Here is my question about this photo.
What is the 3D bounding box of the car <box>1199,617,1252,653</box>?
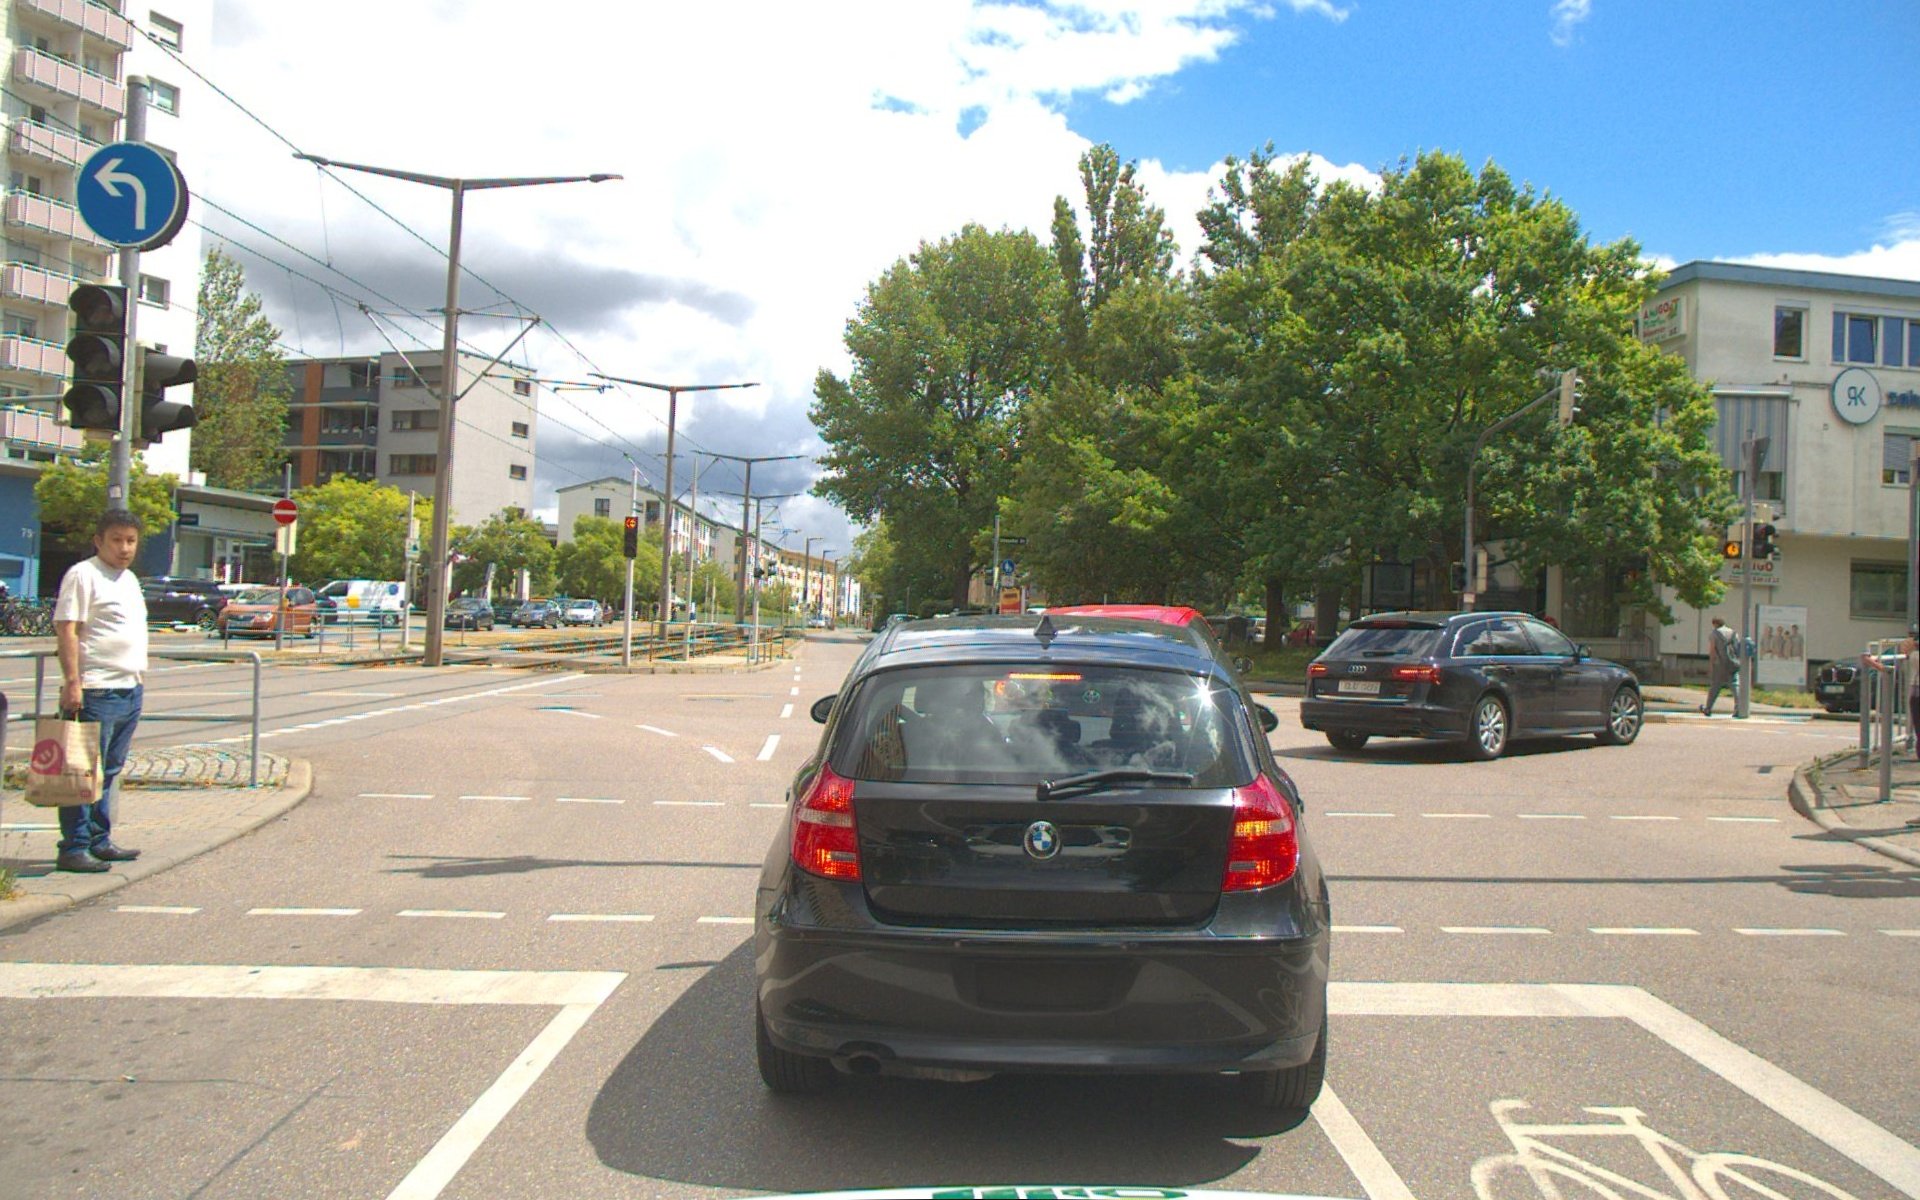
[{"bbox_3d":[12.503,1.627,78.011,1.598,1.600,4.029,1,0,-4],"label":"car"}]

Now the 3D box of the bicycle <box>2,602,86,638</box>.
[{"bbox_3d":[-24.837,0.535,44.864,1.909,0.951,0.494,1,-1,-7],"label":"bicycle"}]

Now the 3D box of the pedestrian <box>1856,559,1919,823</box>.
[{"bbox_3d":[6.602,0.590,11.010,0.932,1.703,0.871,0,0,14],"label":"pedestrian"}]

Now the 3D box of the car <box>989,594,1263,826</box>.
[{"bbox_3d":[1.363,0.717,12.472,1.509,1.466,3.198,1,0,15],"label":"car"}]

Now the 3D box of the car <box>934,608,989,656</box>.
[{"bbox_3d":[0.047,1.187,61.820,1.953,1.713,3.999,1,-1,-1],"label":"car"}]

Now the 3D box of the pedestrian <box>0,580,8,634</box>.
[{"bbox_3d":[-30.594,0.217,51.865,1.078,1.688,0.943,0,-1,39],"label":"pedestrian"}]

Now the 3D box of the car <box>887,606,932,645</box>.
[{"bbox_3d":[-2.322,1.183,77.043,1.953,1.713,3.999,1,0,-1],"label":"car"}]

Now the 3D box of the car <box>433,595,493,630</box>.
[{"bbox_3d":[-21.804,0.534,72.725,1.597,1.438,4.251,1,1,-4],"label":"car"}]

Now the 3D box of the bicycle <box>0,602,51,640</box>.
[{"bbox_3d":[-24.679,0.529,42.851,1.909,0.951,0.494,1,-1,-7],"label":"bicycle"}]

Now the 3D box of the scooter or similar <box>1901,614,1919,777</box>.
[{"bbox_3d":[8.382,0.780,13.300,1.315,1.299,0.462,1,1,6],"label":"scooter or similar"}]

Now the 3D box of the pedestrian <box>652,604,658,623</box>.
[{"bbox_3d":[-26.817,1.206,145.557,0.444,1.665,0.479,1,0,-6],"label":"pedestrian"}]

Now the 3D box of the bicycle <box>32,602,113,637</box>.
[{"bbox_3d":[-24.662,0.543,45.983,1.909,0.951,0.494,1,-1,-7],"label":"bicycle"}]

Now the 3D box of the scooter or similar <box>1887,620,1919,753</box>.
[{"bbox_3d":[9.189,0.812,15.119,1.338,1.176,0.539,3,0,-26],"label":"scooter or similar"}]

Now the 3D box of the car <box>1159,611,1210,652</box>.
[{"bbox_3d":[10.457,1.444,77.263,1.598,1.842,4.029,1,0,-4],"label":"car"}]

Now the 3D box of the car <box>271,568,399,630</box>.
[{"bbox_3d":[-27.156,-0.071,71.699,2.810,2.522,6.614,1,0,-44],"label":"car"}]

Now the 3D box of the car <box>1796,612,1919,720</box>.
[{"bbox_3d":[17.111,1.143,28.533,4.472,1.747,1.997,1,0,-8],"label":"car"}]

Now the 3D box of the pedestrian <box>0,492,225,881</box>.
[{"bbox_3d":[-4.265,0.411,8.244,0.851,1.839,0.741,1,0,-5],"label":"pedestrian"}]

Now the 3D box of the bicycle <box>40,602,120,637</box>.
[{"bbox_3d":[-24.715,0.544,46.461,1.909,0.951,0.494,1,-1,-7],"label":"bicycle"}]

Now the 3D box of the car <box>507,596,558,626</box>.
[{"bbox_3d":[-21.931,0.568,84.968,1.602,1.424,4.491,2,-1,-3],"label":"car"}]

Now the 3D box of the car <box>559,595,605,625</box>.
[{"bbox_3d":[-22.489,0.574,98.413,1.898,1.722,3.871,1,0,-1],"label":"car"}]

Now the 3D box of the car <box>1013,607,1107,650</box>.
[{"bbox_3d":[4.571,1.303,75.948,3.933,1.855,1.766,1,0,-23],"label":"car"}]

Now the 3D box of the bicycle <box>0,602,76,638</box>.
[{"bbox_3d":[-24.825,0.533,44.318,1.909,0.951,0.494,1,-1,-7],"label":"bicycle"}]

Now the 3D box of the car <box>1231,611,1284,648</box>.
[{"bbox_3d":[14.241,1.392,79.306,1.598,1.623,3.997,1,0,-4],"label":"car"}]

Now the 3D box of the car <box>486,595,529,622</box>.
[{"bbox_3d":[-25.493,0.464,93.258,1.728,1.419,3.994,1,0,-7],"label":"car"}]

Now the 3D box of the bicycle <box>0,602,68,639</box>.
[{"bbox_3d":[-24.781,0.532,43.843,1.909,0.951,0.494,1,-1,-7],"label":"bicycle"}]

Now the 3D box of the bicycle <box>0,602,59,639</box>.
[{"bbox_3d":[-24.735,0.530,43.338,1.909,0.951,0.494,1,-1,-7],"label":"bicycle"}]

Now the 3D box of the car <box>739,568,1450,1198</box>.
[{"bbox_3d":[0.310,0.691,6.063,1.717,1.513,3.999,1,0,-1],"label":"car"}]

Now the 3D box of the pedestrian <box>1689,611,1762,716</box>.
[{"bbox_3d":[12.684,1.040,27.416,0.753,1.672,0.907,2,0,-1],"label":"pedestrian"}]

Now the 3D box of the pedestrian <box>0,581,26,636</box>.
[{"bbox_3d":[-29.521,0.253,50.978,1.078,1.688,0.943,0,-1,39],"label":"pedestrian"}]

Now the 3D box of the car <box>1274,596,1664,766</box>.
[{"bbox_3d":[5.548,0.795,17.746,4.481,1.581,1.970,1,-1,-42],"label":"car"}]

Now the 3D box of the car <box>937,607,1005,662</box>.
[{"bbox_3d":[0.321,1.130,54.376,2.108,1.713,3.999,1,-1,-1],"label":"car"}]

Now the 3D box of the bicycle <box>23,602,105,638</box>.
[{"bbox_3d":[-24.625,0.541,45.492,1.909,0.951,0.494,1,-1,-7],"label":"bicycle"}]

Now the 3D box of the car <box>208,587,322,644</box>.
[{"bbox_3d":[-21.453,0.450,51.243,1.955,1.663,4.455,0,0,-5],"label":"car"}]

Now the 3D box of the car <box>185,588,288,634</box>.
[{"bbox_3d":[-26.495,0.398,60.539,4.144,1.597,1.949,1,0,43],"label":"car"}]

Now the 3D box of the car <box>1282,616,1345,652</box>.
[{"bbox_3d":[16.998,1.612,79.790,1.698,1.623,3.993,1,0,-8],"label":"car"}]
